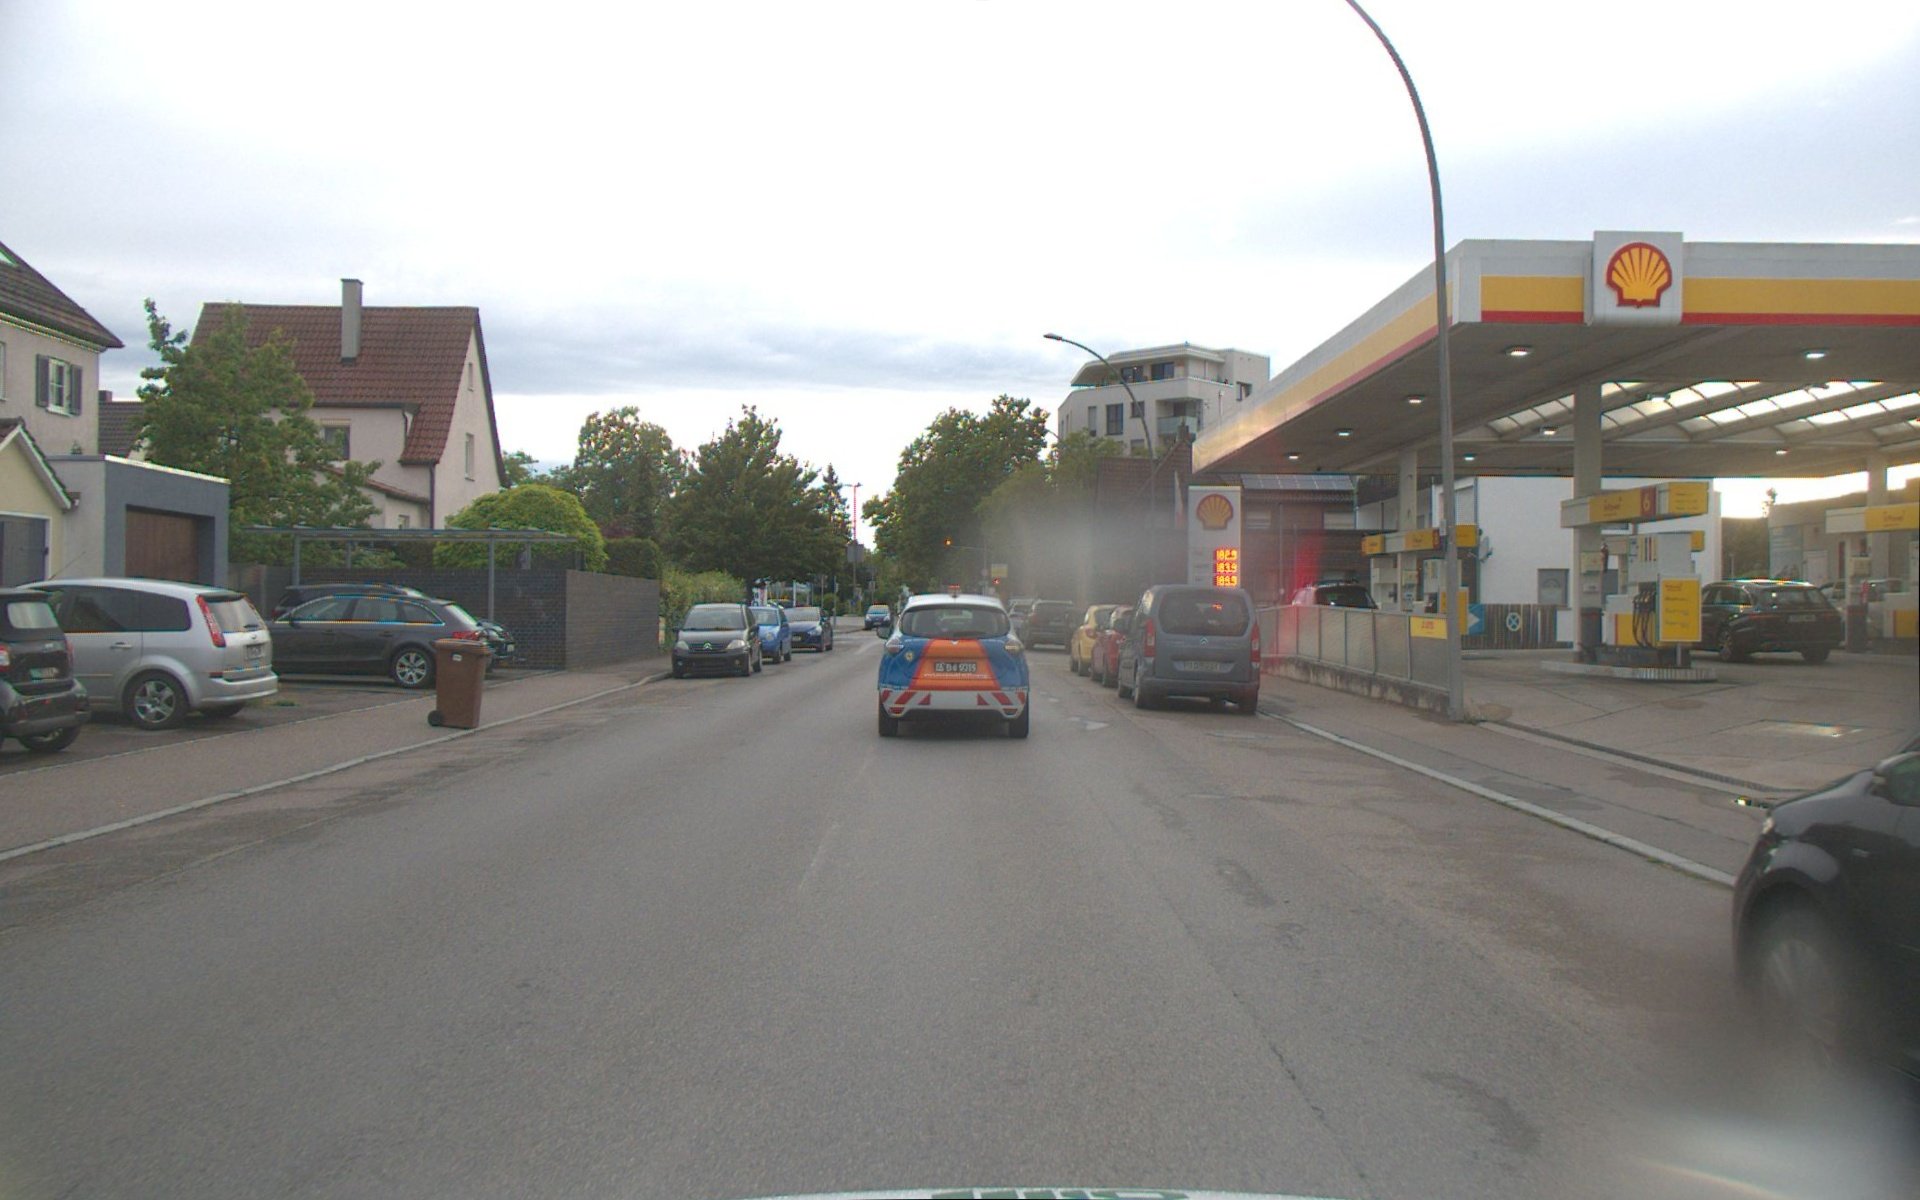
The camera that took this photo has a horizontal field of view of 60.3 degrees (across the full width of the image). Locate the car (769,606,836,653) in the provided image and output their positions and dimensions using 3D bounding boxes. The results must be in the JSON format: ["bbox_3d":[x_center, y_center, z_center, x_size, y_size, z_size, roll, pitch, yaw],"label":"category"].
[{"bbox_3d":[-5.103,0.937,53.977,1.770,1.427,3.944,-1,0,0],"label":"car"}]

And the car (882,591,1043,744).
[{"bbox_3d":[0.023,0.707,19.637,1.710,1.609,4.000,0,0,0],"label":"car"}]

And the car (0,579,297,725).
[{"bbox_3d":[-9.798,0.548,18.547,4.005,1.540,1.881,0,0,-6],"label":"car"}]

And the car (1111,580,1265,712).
[{"bbox_3d":[3.388,0.640,25.293,1.622,1.768,4.444,3,0,-1],"label":"car"}]

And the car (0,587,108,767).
[{"bbox_3d":[-10.030,0.640,14.673,4.005,1.529,1.754,0,0,-6],"label":"car"}]

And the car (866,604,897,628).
[{"bbox_3d":[-4.731,0.956,100.186,1.593,1.458,3.684,0,0,1],"label":"car"}]

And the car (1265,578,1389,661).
[{"bbox_3d":[8.344,0.419,37.922,1.783,1.790,3.998,0,0,-3],"label":"car"}]

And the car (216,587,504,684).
[{"bbox_3d":[-9.568,0.549,26.626,4.004,1.438,1.712,1,0,-5],"label":"car"}]

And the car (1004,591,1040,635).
[{"bbox_3d":[3.170,0.629,84.074,1.741,2.064,4.755,2,1,2],"label":"car"}]

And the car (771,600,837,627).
[{"bbox_3d":[-9.860,0.852,104.772,3.904,1.571,1.804,1,0,2],"label":"car"}]

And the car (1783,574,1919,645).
[{"bbox_3d":[20.077,0.196,36.728,1.704,1.491,3.779,0,0,-1],"label":"car"}]

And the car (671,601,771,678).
[{"bbox_3d":[-5.088,0.803,35.564,1.575,1.532,3.707,-1,0,0],"label":"car"}]

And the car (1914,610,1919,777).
[{"bbox_3d":[10.002,0.791,14.792,1.749,1.399,3.975,0,0,42],"label":"car"}]

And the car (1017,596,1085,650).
[{"bbox_3d":[3.091,0.745,56.968,2.048,1.691,4.559,2,1,0],"label":"car"}]

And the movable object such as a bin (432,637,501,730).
[{"bbox_3d":[-6.193,1.039,20.794,0.583,1.075,0.687,5,1,0],"label":"movable object such as a bin"}]

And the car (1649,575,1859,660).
[{"bbox_3d":[14.952,0.306,31.457,1.704,1.491,4.672,0,0,-1],"label":"car"}]

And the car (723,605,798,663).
[{"bbox_3d":[-5.217,0.852,43.589,1.514,1.427,3.597,-1,0,0],"label":"car"}]

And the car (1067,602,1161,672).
[{"bbox_3d":[3.260,0.762,35.669,1.622,1.426,3.801,0,0,-1],"label":"car"}]

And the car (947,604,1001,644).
[{"bbox_3d":[0.641,1.022,72.258,1.951,1.601,4.003,2,1,5],"label":"car"}]

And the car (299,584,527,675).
[{"bbox_3d":[-9.769,0.520,29.740,3.515,1.482,1.755,2,0,-5],"label":"car"}]

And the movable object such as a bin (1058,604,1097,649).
[{"bbox_3d":[3.798,0.843,53.577,1.104,1.413,1.503,0,0,-2],"label":"movable object such as a bin"}]

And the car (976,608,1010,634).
[{"bbox_3d":[2.013,1.294,102.426,1.758,1.453,3.998,1,1,-3],"label":"car"}]

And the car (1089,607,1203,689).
[{"bbox_3d":[3.398,0.851,30.870,1.622,1.400,4.024,0,0,-1],"label":"car"}]

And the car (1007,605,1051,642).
[{"bbox_3d":[3.217,1.079,77.952,1.827,1.694,4.319,1,0,-1],"label":"car"}]

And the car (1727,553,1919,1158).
[{"bbox_3d":[3.583,0.689,3.512,1.953,1.624,3.998,0,0,-2],"label":"car"}]
